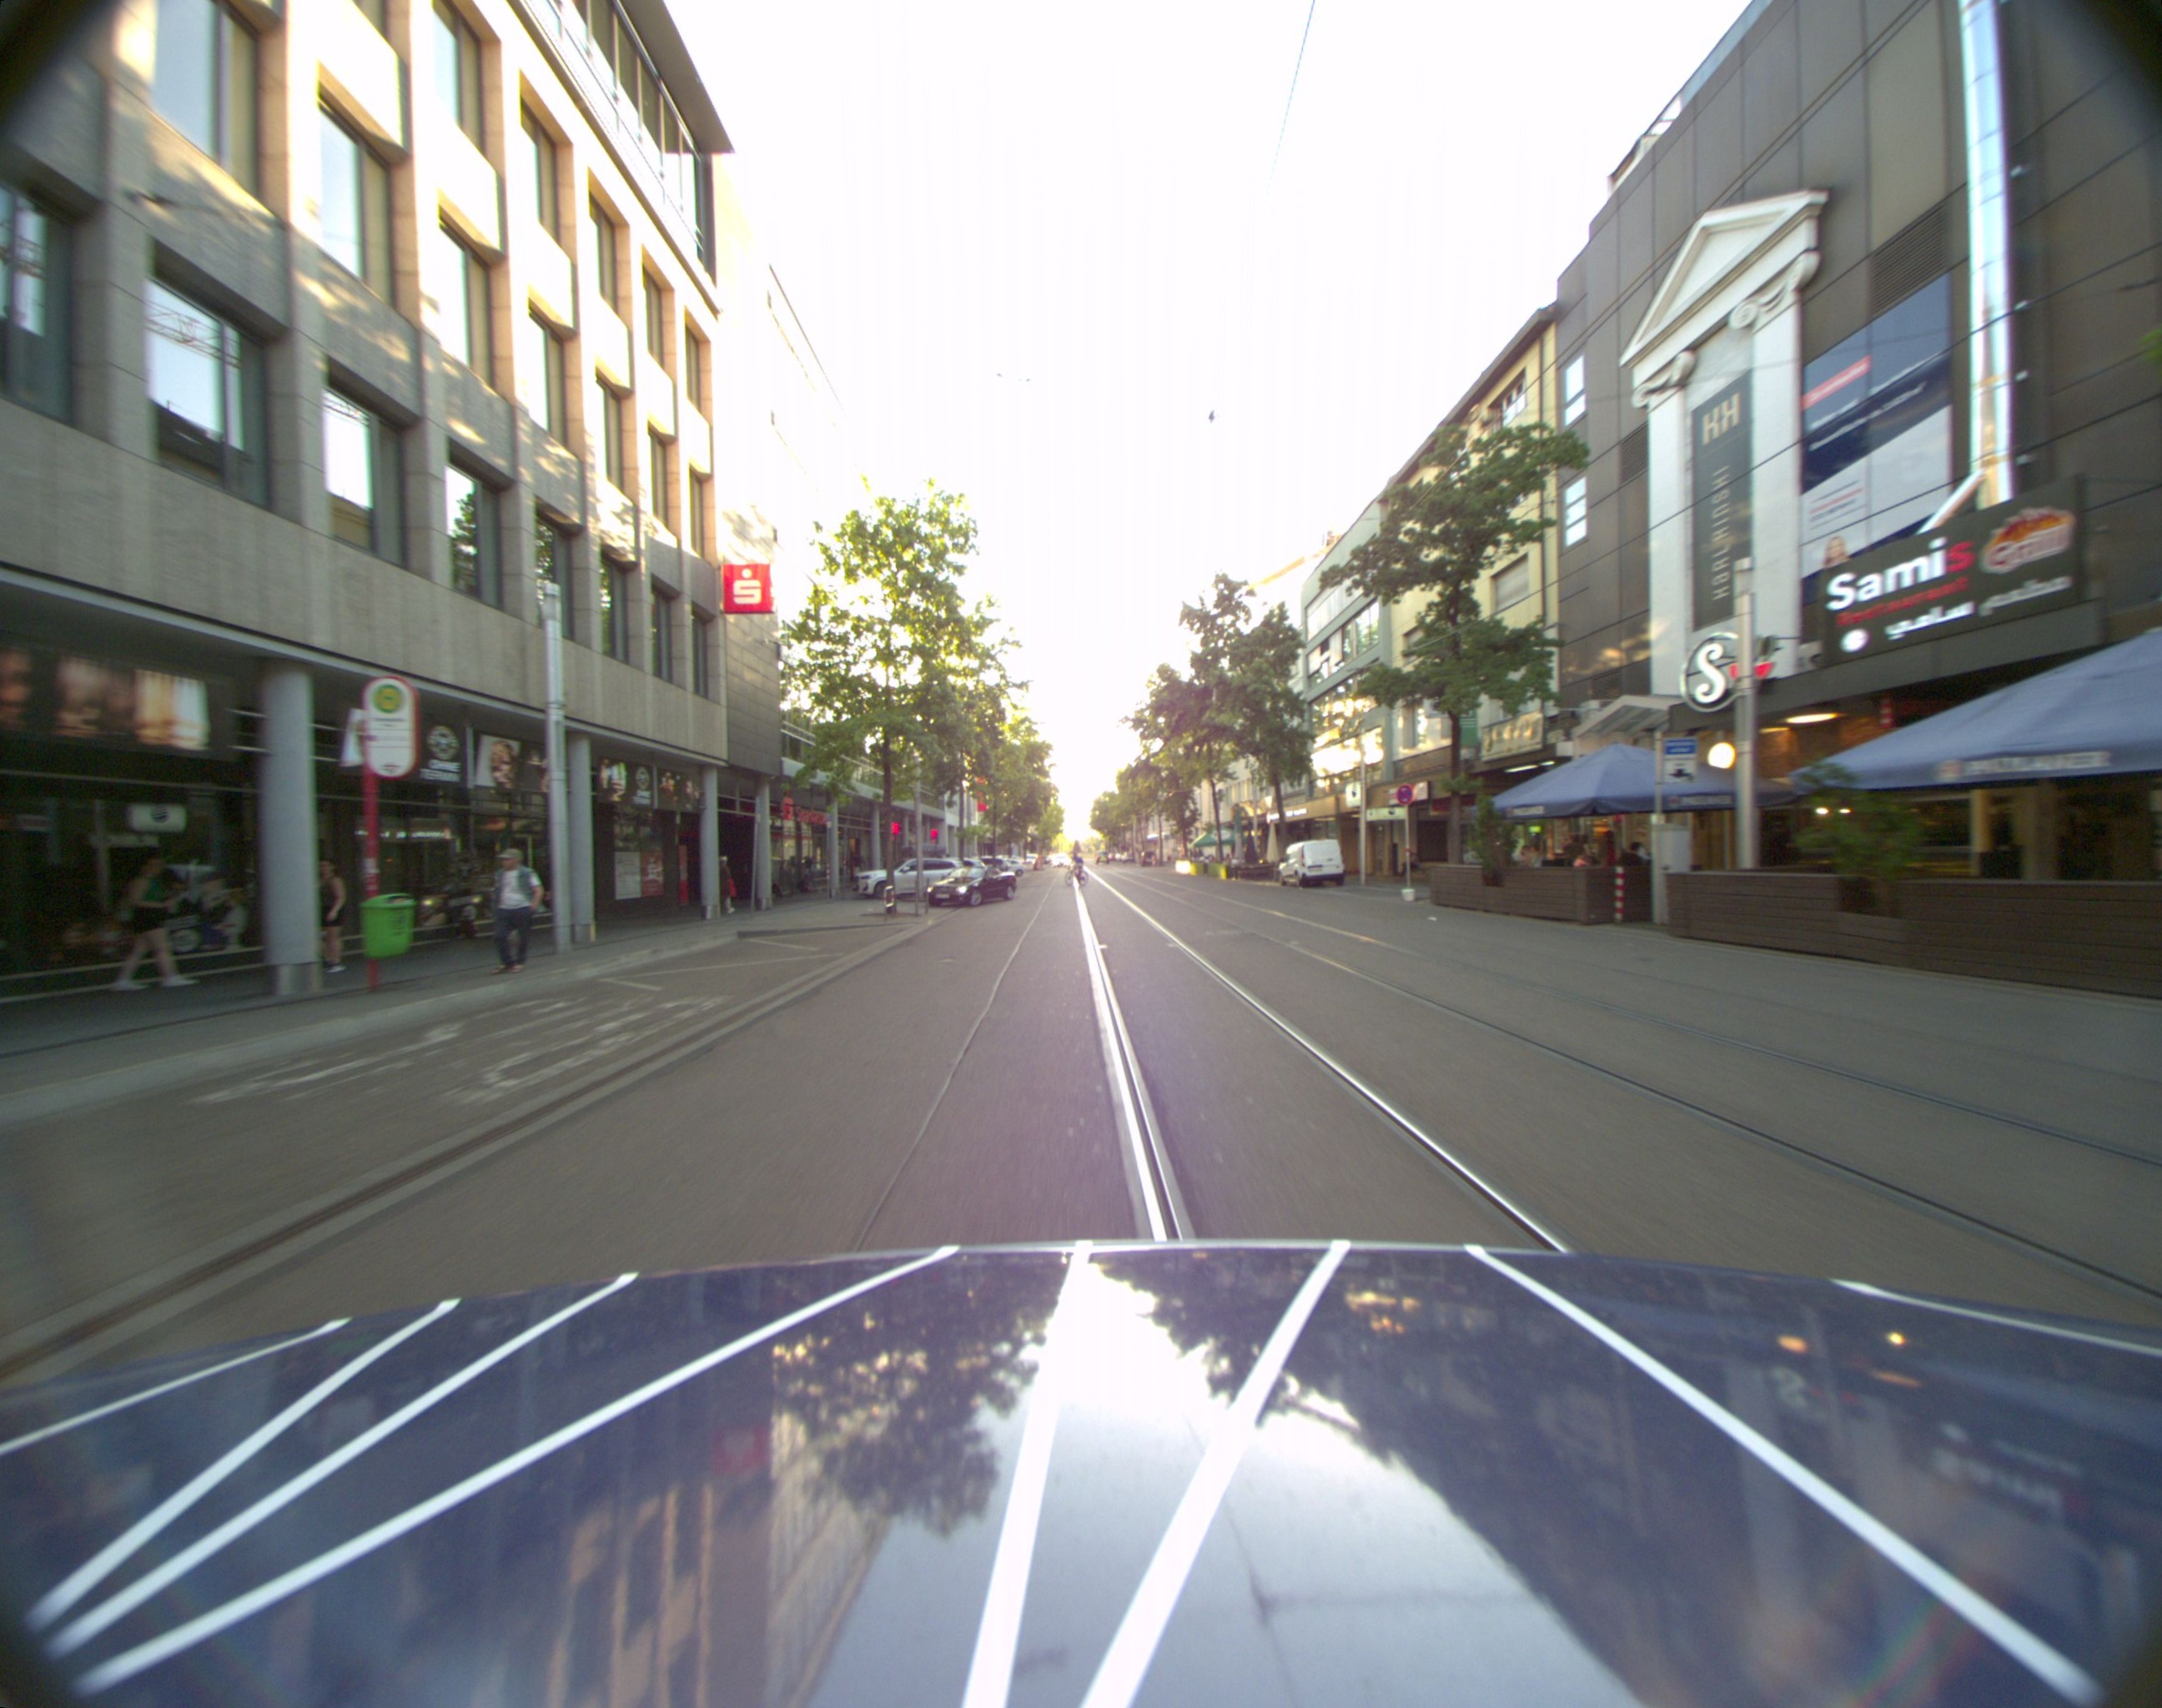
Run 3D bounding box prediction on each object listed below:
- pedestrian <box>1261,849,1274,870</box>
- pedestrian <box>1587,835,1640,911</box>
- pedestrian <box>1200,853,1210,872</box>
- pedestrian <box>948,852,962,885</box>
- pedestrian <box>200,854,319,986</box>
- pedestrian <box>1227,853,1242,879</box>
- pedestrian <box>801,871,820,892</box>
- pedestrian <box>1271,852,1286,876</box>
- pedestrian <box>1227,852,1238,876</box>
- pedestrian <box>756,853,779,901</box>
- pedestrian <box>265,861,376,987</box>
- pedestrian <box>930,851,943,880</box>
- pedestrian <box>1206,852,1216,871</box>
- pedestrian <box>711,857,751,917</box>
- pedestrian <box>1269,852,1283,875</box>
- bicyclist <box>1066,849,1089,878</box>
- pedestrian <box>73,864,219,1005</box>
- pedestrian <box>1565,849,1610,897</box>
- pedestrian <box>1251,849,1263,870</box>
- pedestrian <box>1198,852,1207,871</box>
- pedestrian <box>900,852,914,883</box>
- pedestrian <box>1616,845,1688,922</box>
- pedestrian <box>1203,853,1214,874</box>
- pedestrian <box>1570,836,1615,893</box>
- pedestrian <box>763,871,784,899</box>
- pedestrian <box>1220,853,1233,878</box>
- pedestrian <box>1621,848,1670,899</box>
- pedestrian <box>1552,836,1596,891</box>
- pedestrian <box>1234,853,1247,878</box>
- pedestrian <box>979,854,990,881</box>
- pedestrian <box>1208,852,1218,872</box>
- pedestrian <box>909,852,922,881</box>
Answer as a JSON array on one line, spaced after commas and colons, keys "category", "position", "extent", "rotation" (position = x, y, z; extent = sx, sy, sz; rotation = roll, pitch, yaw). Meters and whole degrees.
[{"category": "pedestrian", "position": [13.038, 0.376, 53.132], "extent": [0.650, 1.451, 0.650], "rotation": [-1, 1, -3]}, {"category": "pedestrian", "position": [11.322, 0.395, 16.170], "extent": [0.658, 1.543, 0.565], "rotation": [-4, 2, -2]}, {"category": "pedestrian", "position": [9.082, 0.597, 55.545], "extent": [0.649, 1.378, 0.650], "rotation": [-1, 1, 6]}, {"category": "pedestrian", "position": [-6.891, 0.799, 41.464], "extent": [0.618, 1.789, 0.628], "rotation": [-1, 1, 0]}, {"category": "pedestrian", "position": [-11.470, 0.883, 10.647], "extent": [0.675, 1.762, 0.863], "rotation": [-1, 1, -1]}, {"category": "pedestrian", "position": [8.995, 0.703, 44.420], "extent": [0.648, 1.451, 0.651], "rotation": [-1, 1, 29]}, {"category": "pedestrian", "position": [-11.895, 1.219, 33.431], "extent": [0.627, 0.876, 0.558], "rotation": [-1, 1, -1]}, {"category": "pedestrian", "position": [12.346, 0.615, 47.529], "extent": [0.650, 1.451, 0.649], "rotation": [-1, 1, -9]}, {"category": "pedestrian", "position": [9.650, 0.630, 48.328], "extent": [0.649, 1.451, 0.651], "rotation": [-1, 1, 13]}, {"category": "pedestrian", "position": [-11.684, 0.861, 28.315], "extent": [0.558, 1.762, 0.628], "rotation": [-1, 1, 0]}, {"category": "pedestrian", "position": [-10.383, 0.926, 10.408], "extent": [0.682, 1.635, 0.788], "rotation": [-1, 1, -1]}, {"category": "pedestrian", "position": [-8.427, 0.673, 44.362], "extent": [0.618, 1.681, 0.628], "rotation": [-1, 1, 0]}, {"category": "pedestrian", "position": [9.724, 0.558, 56.733], "extent": [0.649, 1.378, 0.650], "rotation": [-1, 1, 6]}, {"category": "pedestrian", "position": [-9.734, 0.899, 21.154], "extent": [0.749, 1.635, 0.741], "rotation": [-1, 1, -1]}, {"category": "pedestrian", "position": [12.430, 0.600, 48.485], "extent": [0.650, 1.451, 0.650], "rotation": [-1, 1, -2]}, {"category": "bicyclist", "position": [-0.178, 0.467, 37.612], "extent": [0.762, 1.406, 0.895], "rotation": [-1, 1, -32]}, {"category": "pedestrian", "position": [-11.405, 0.950, 9.302], "extent": [0.712, 1.635, 0.818], "rotation": [-1, 1, -1]}, {"category": "pedestrian", "position": [12.906, 0.480, 19.372], "extent": [0.642, 1.150, 0.665], "rotation": [-4, 2, -3]}, {"category": "pedestrian", "position": [12.519, 0.383, 54.043], "extent": [0.650, 1.451, 0.650], "rotation": [-1, 1, -3]}, {"category": "pedestrian", "position": [9.074, 0.582, 56.787], "extent": [0.649, 1.378, 0.650], "rotation": [-1, 1, 6]}, {"category": "pedestrian", "position": [-9.473, 0.748, 41.430], "extent": [0.618, 1.681, 0.628], "rotation": [-1, 1, 0]}, {"category": "pedestrian", "position": [11.008, 0.560, 14.678], "extent": [0.766, 1.393, 0.746], "rotation": [-4, 2, -1]}, {"category": "pedestrian", "position": [8.652, 0.662, 51.651], "extent": [0.649, 1.378, 0.650], "rotation": [-1, 1, 6]}, {"category": "pedestrian", "position": [13.528, 0.259, 20.106], "extent": [0.662, 1.426, 0.643], "rotation": [-6, 2, 0]}, {"category": "pedestrian", "position": [-11.883, 1.203, 29.363], "extent": [0.628, 1.030, 0.558], "rotation": [-1, 1, -9]}, {"category": "pedestrian", "position": [8.701, 0.702, 45.358], "extent": [0.649, 1.451, 0.650], "rotation": [-1, 1, 0]}, {"category": "pedestrian", "position": [13.692, 0.463, 18.447], "extent": [0.642, 1.150, 0.665], "rotation": [-4, 2, -3]}, {"category": "pedestrian", "position": [13.511, 0.250, 20.825], "extent": [0.662, 1.426, 0.643], "rotation": [-6, 2, 0]}, {"category": "pedestrian", "position": [9.497, 0.675, 45.209], "extent": [0.649, 1.451, 0.651], "rotation": [-1, 1, 17]}, {"category": "pedestrian", "position": [-6.134, 0.860, 48.505], "extent": [0.618, 1.681, 0.627], "rotation": [-1, 1, -5]}, {"category": "pedestrian", "position": [9.675, 0.575, 55.521], "extent": [0.649, 1.378, 0.650], "rotation": [-1, 1, 6]}, {"category": "pedestrian", "position": [-9.660, 0.719, 44.309], "extent": [0.618, 1.681, 0.628], "rotation": [-1, 1, 0]}]
